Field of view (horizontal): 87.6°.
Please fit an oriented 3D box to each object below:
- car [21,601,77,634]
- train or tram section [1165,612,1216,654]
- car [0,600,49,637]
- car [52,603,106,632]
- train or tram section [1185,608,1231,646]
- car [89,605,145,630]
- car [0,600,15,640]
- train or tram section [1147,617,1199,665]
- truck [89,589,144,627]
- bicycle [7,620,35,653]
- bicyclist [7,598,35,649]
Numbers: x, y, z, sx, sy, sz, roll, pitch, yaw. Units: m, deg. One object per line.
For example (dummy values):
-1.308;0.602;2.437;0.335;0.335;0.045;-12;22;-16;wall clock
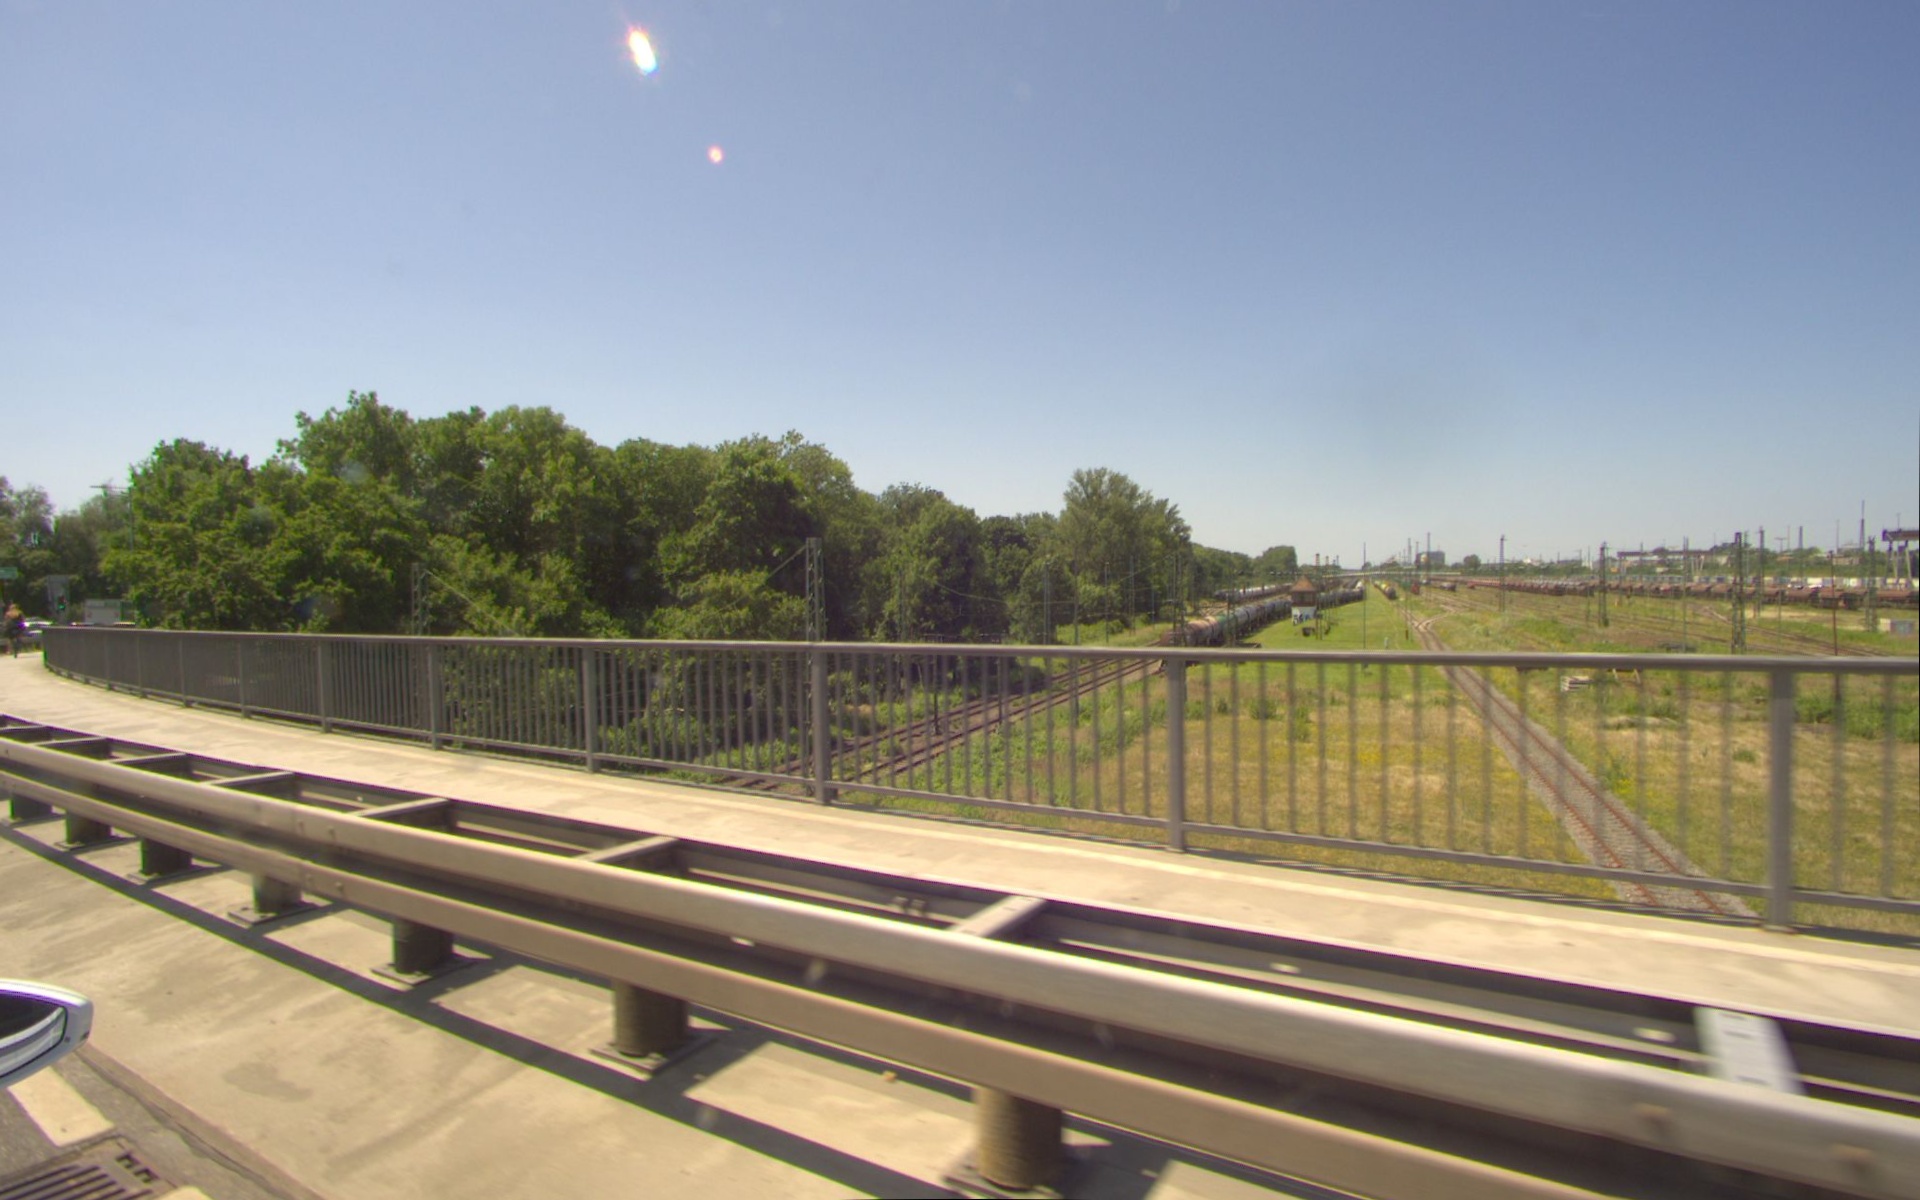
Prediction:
-52.440;0.988;57.696;1.703;1.868;3.976;0;0;-32;car
28.921;4.003;124.893;3.788;4.366;13.586;-2;1;23;train or tram section
-48.990;0.954;52.060;1.703;1.868;3.976;0;0;-32;car
-55.999;1.141;63.695;1.665;1.783;3.983;0;-1;-28;car
34.189;3.541;137.383;3.788;4.366;13.584;-2;1;24;train or tram section
-58.968;1.246;70.119;1.969;1.594;3.988;2;-3;-24;car
-44.473;0.891;45.351;1.703;1.826;3.975;0;0;-33;car
23.975;4.453;112.189;3.785;4.366;13.596;-2;1;20;train or tram section
-66.317;0.643;78.817;2.309;2.911;5.909;0;0;-30;truck
-31.935;1.233;34.069;0.577;1.050;1.471;-4;2;-41;bicycle
-31.941;0.800;34.064;0.573;1.706;0.722;-4;3;-42;bicyclist
